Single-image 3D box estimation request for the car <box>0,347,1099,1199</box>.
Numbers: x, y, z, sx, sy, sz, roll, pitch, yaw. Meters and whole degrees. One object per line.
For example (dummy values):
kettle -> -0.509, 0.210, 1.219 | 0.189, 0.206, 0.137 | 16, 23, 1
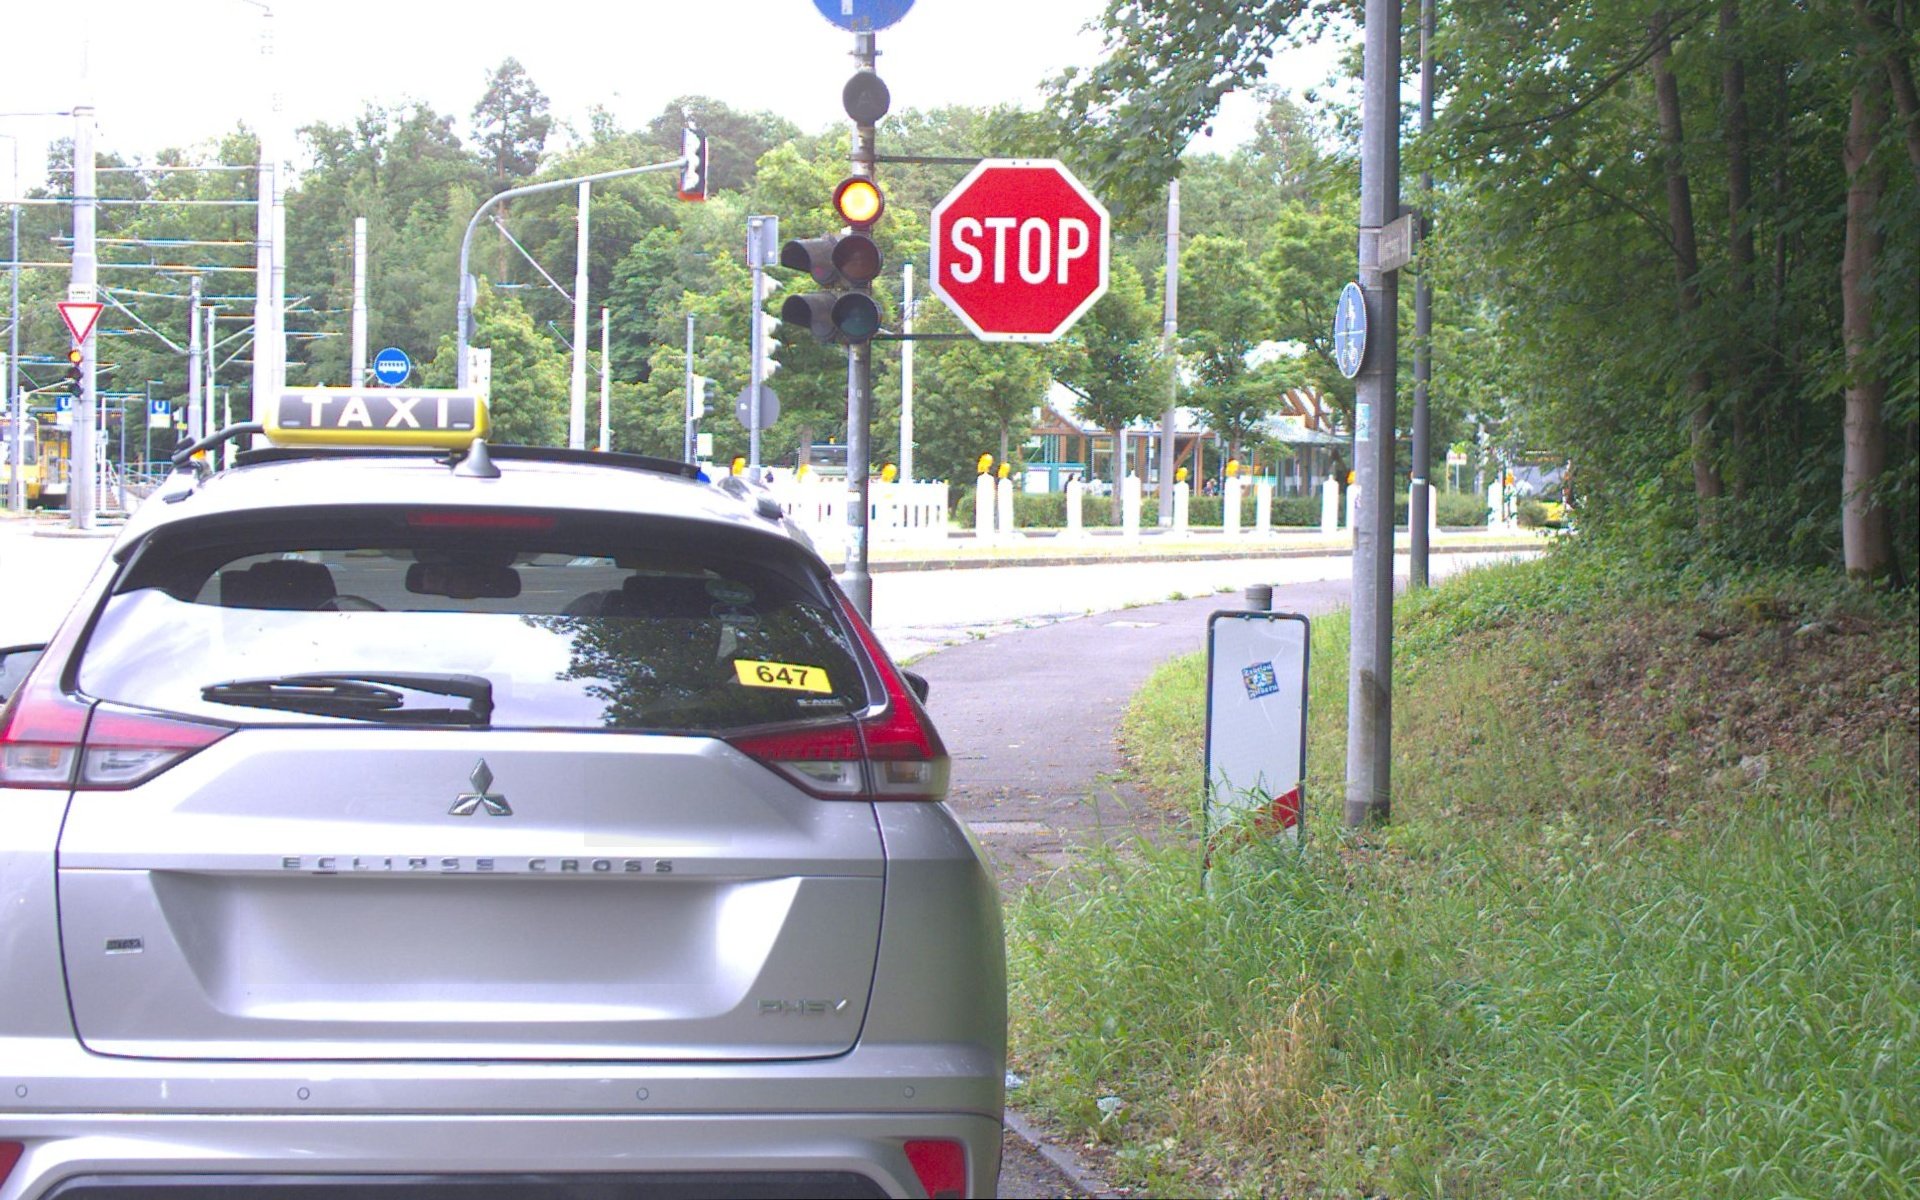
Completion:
car -> -0.997, 0.474, 6.809 | 1.773, 1.742, 3.782 | 2, 2, -9
